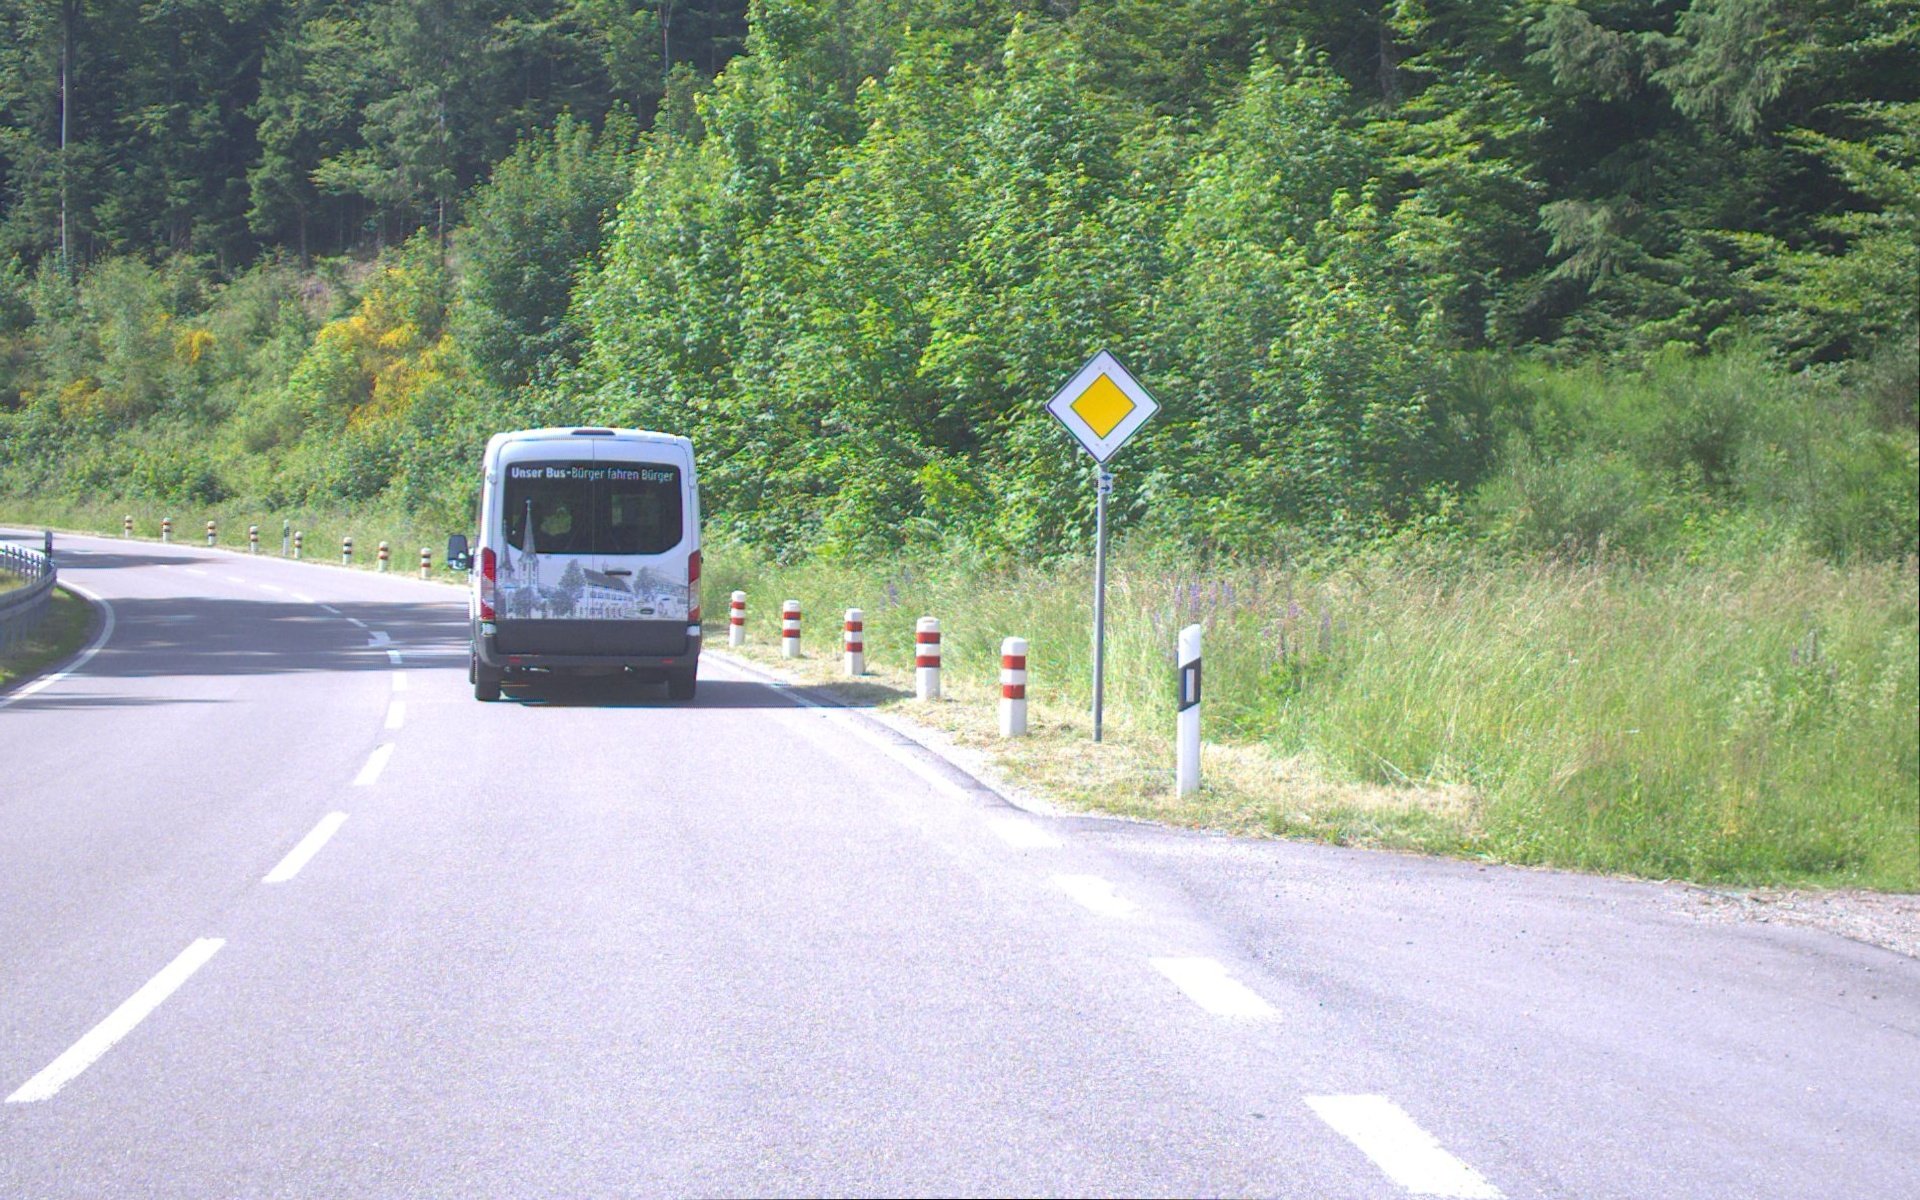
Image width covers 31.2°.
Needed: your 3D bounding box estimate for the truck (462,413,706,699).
[{"bbox_3d":[-3.663,-0.450,32.774,2.115,2.489,5.361,0,1,-8],"label":"truck"}]
